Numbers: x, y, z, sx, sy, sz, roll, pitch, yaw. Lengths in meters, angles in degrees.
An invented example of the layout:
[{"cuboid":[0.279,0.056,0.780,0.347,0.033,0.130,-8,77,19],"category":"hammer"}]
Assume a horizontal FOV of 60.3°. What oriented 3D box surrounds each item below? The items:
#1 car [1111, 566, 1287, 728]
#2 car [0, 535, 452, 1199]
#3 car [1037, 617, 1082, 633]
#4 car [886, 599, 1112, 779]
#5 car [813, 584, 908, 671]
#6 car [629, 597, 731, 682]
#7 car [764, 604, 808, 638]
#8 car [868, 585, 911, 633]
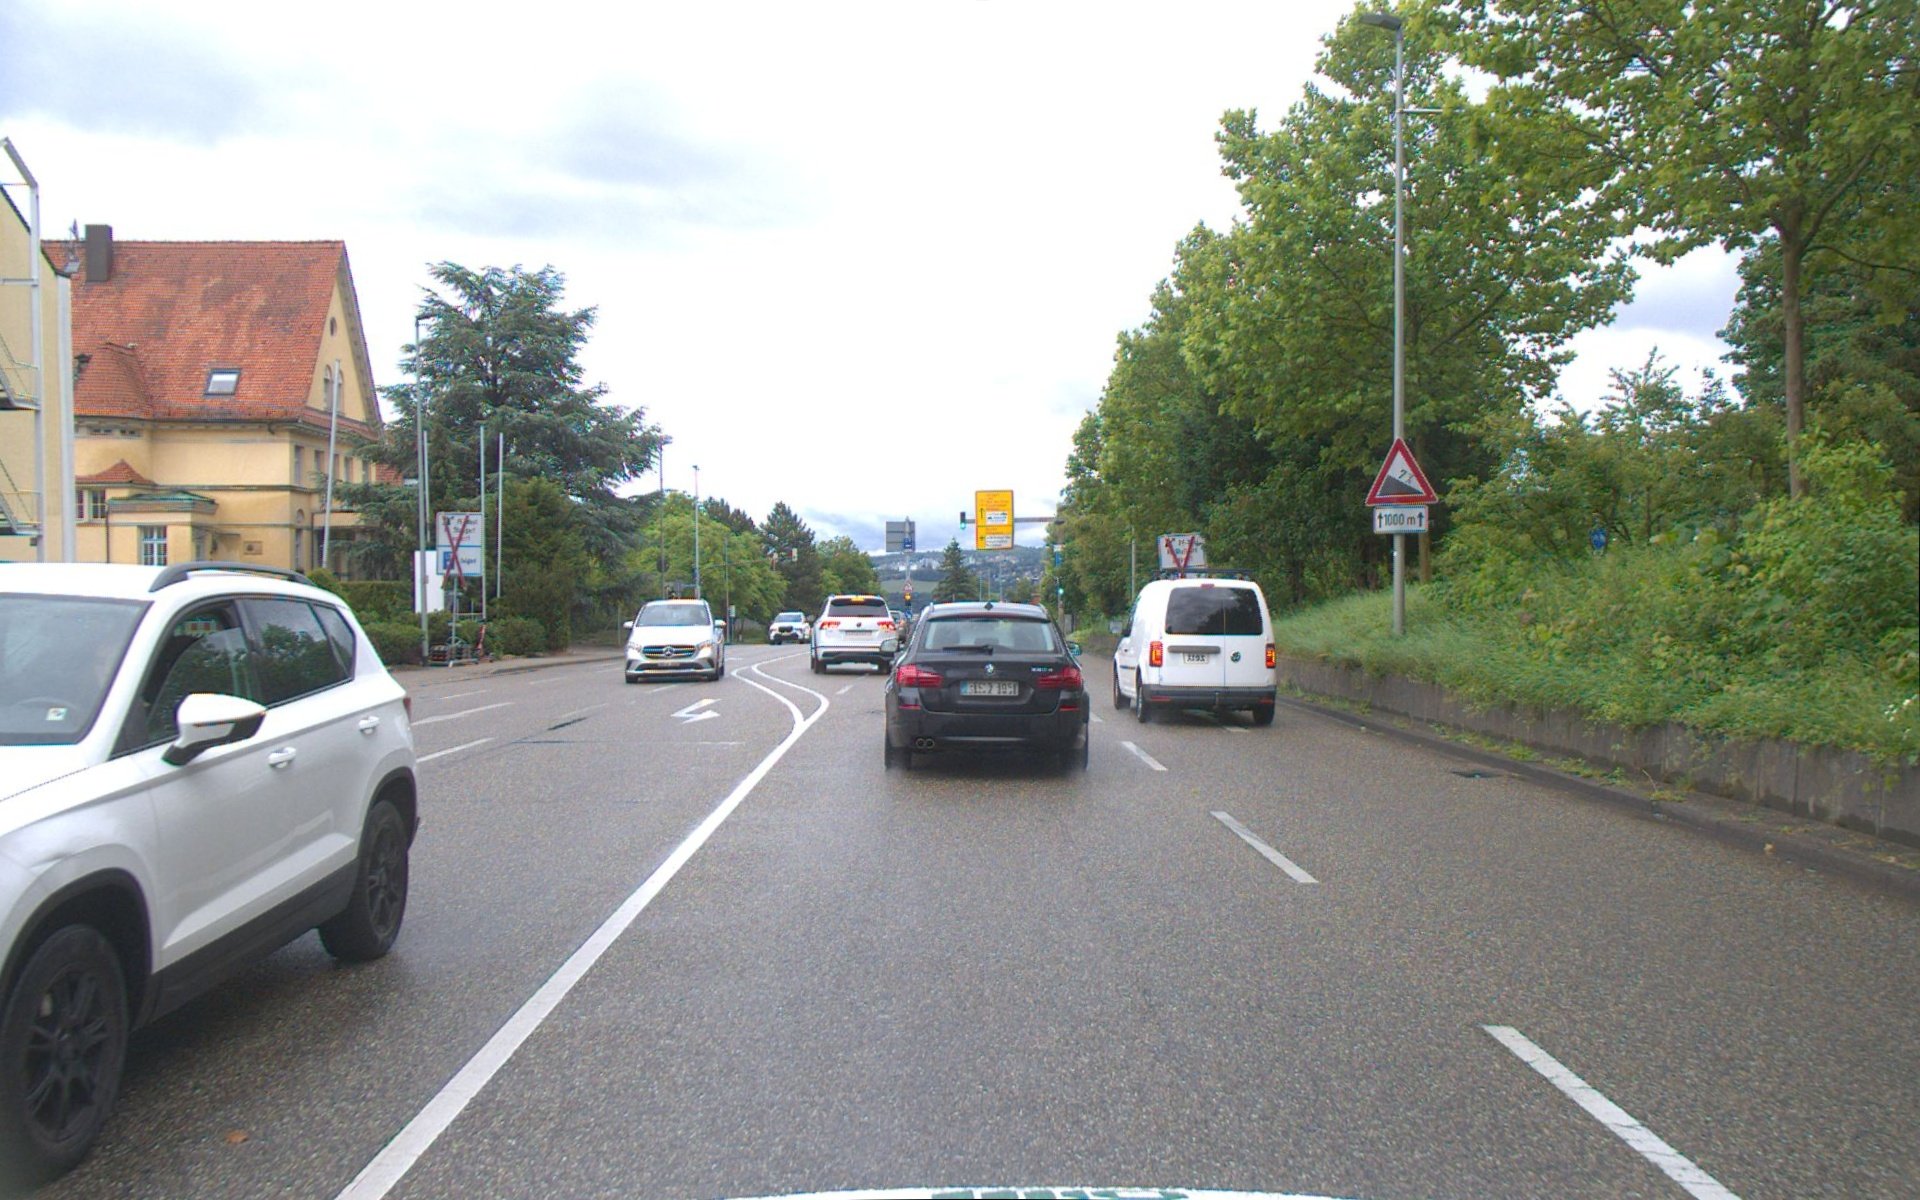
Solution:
[{"cuboid":[3.074,0.534,21.951,1.729,1.910,3.805,0,2,-1],"category":"car"},{"cuboid":[-3.134,0.664,5.479,1.751,1.608,4.237,0,0,-3],"category":"car"},{"cuboid":[8.671,2.194,143.882,3.903,1.400,1.586,0,-1,4],"category":"car"},{"cuboid":[0.333,0.739,15.676,1.860,1.467,4.000,0,0,0],"category":"car"},{"cuboid":[-2.128,0.557,36.461,1.830,1.702,4.001,0,2,0],"category":"car"},{"cuboid":[-5.467,0.737,32.733,1.716,1.534,4.296,-1,0,-6],"category":"car"},{"cuboid":[-9.908,1.212,94.669,1.878,1.793,5.143,-3,-1,0],"category":"car"},{"cuboid":[-3.201,0.402,75.325,1.773,2.124,3.850,0,0,0],"category":"car"}]
